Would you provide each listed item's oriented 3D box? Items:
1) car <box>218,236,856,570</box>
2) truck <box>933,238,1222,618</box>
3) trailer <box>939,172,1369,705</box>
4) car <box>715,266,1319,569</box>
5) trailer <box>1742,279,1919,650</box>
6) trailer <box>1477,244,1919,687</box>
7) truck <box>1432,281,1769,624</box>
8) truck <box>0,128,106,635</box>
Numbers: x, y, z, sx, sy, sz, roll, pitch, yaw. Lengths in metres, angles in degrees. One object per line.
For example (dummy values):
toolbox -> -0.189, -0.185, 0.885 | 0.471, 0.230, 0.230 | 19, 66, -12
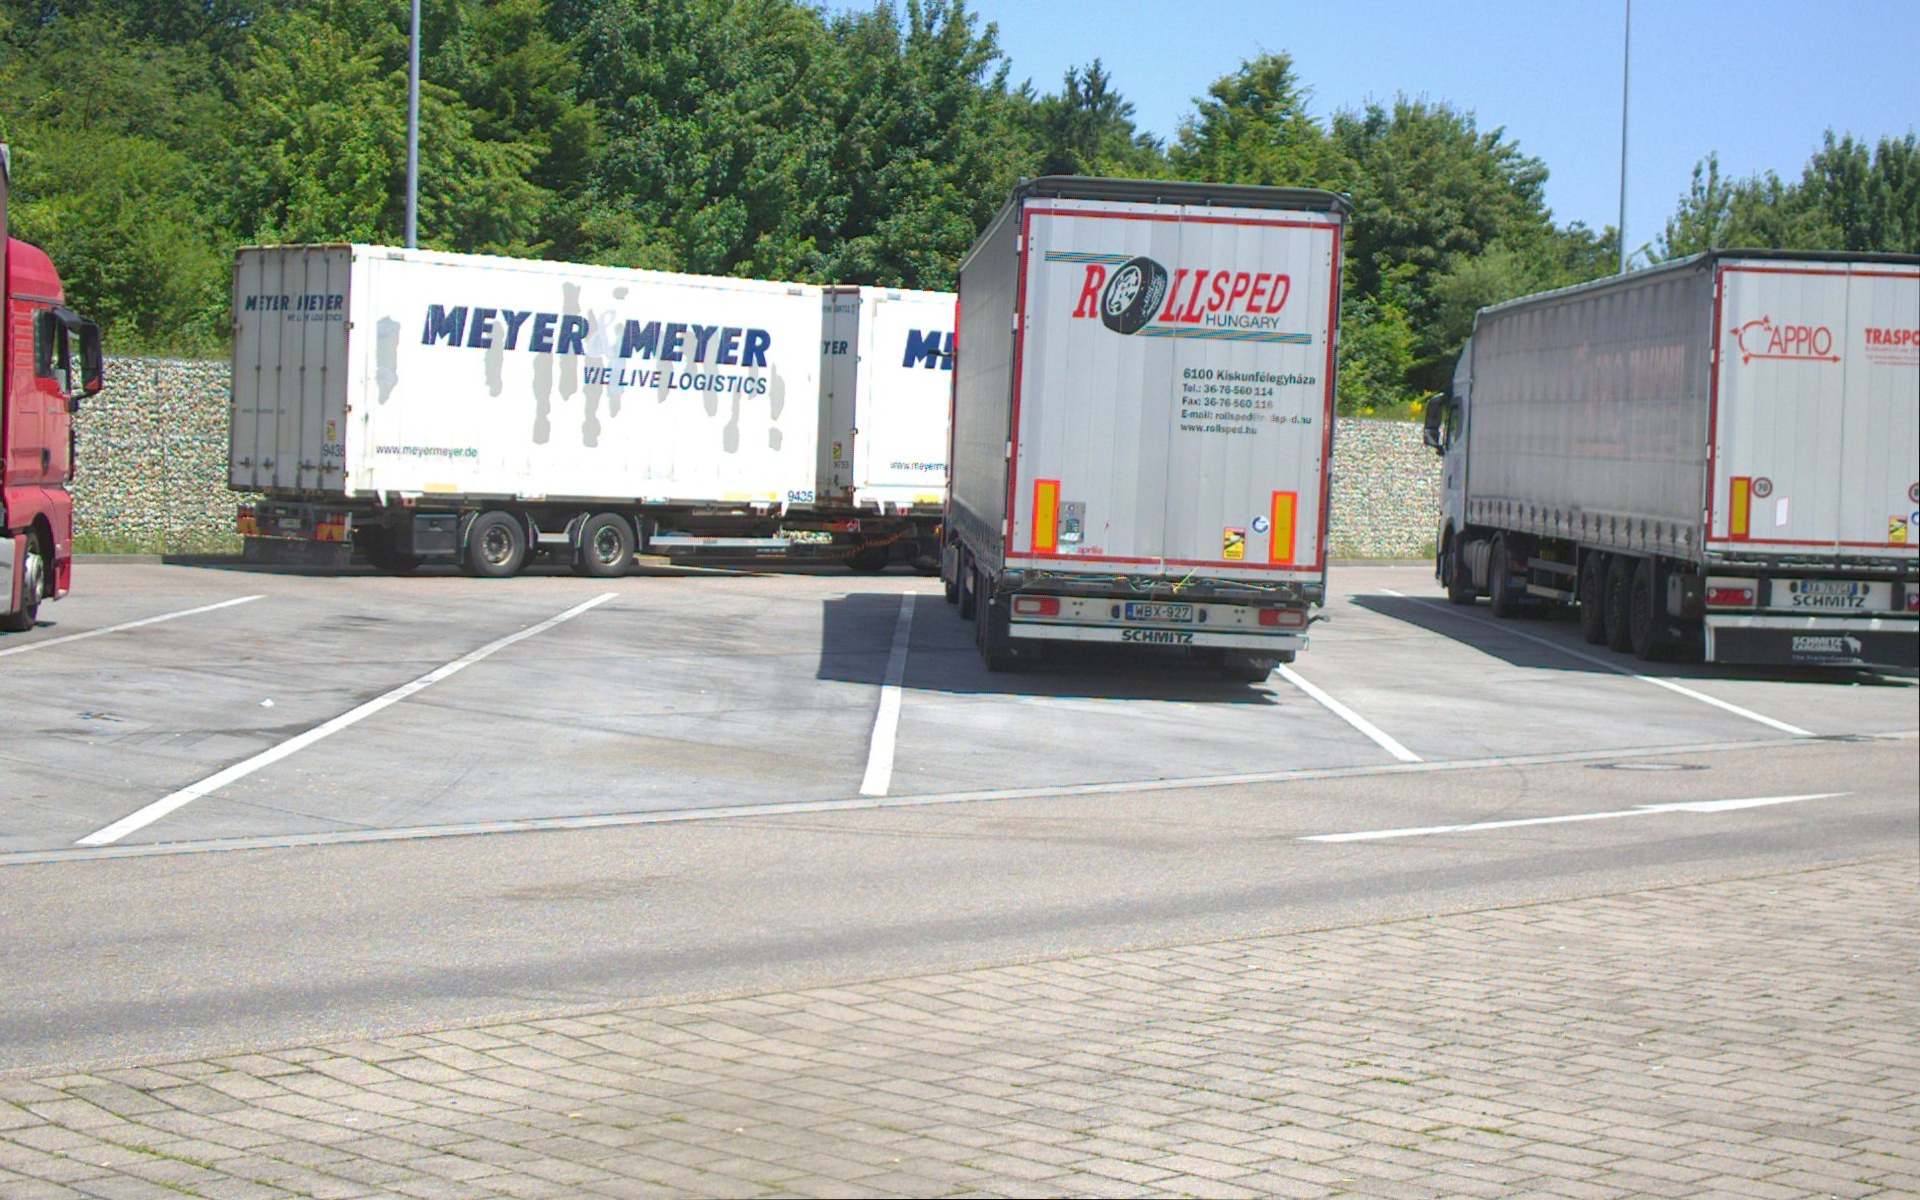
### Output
car -> -5.416, -2.513, 45.532 | 2.687, 4.030, 8.446 | 6, 5, 44
truck -> 1.240, -2.056, 40.721 | 2.866, 4.023, 7.028 | 2, 3, -2
trailer -> 1.452, -1.637, 33.642 | 2.866, 4.023, 14.243 | 2, 3, -2
car -> 1.091, -2.659, 52.184 | 2.687, 4.174, 10.190 | 6, 5, 44
trailer -> 11.852, -1.531, 39.044 | 2.866, 4.023, 12.439 | 2, 3, 0
trailer -> 8.197, -1.570, 37.980 | 2.866, 4.023, 12.439 | 2, 3, 0
truck -> 8.137, -1.953, 44.607 | 2.866, 4.023, 6.957 | 2, 3, 0
truck -> -9.135, -1.811, 28.002 | 2.696, 4.099, 6.240 | 2, 3, 0
